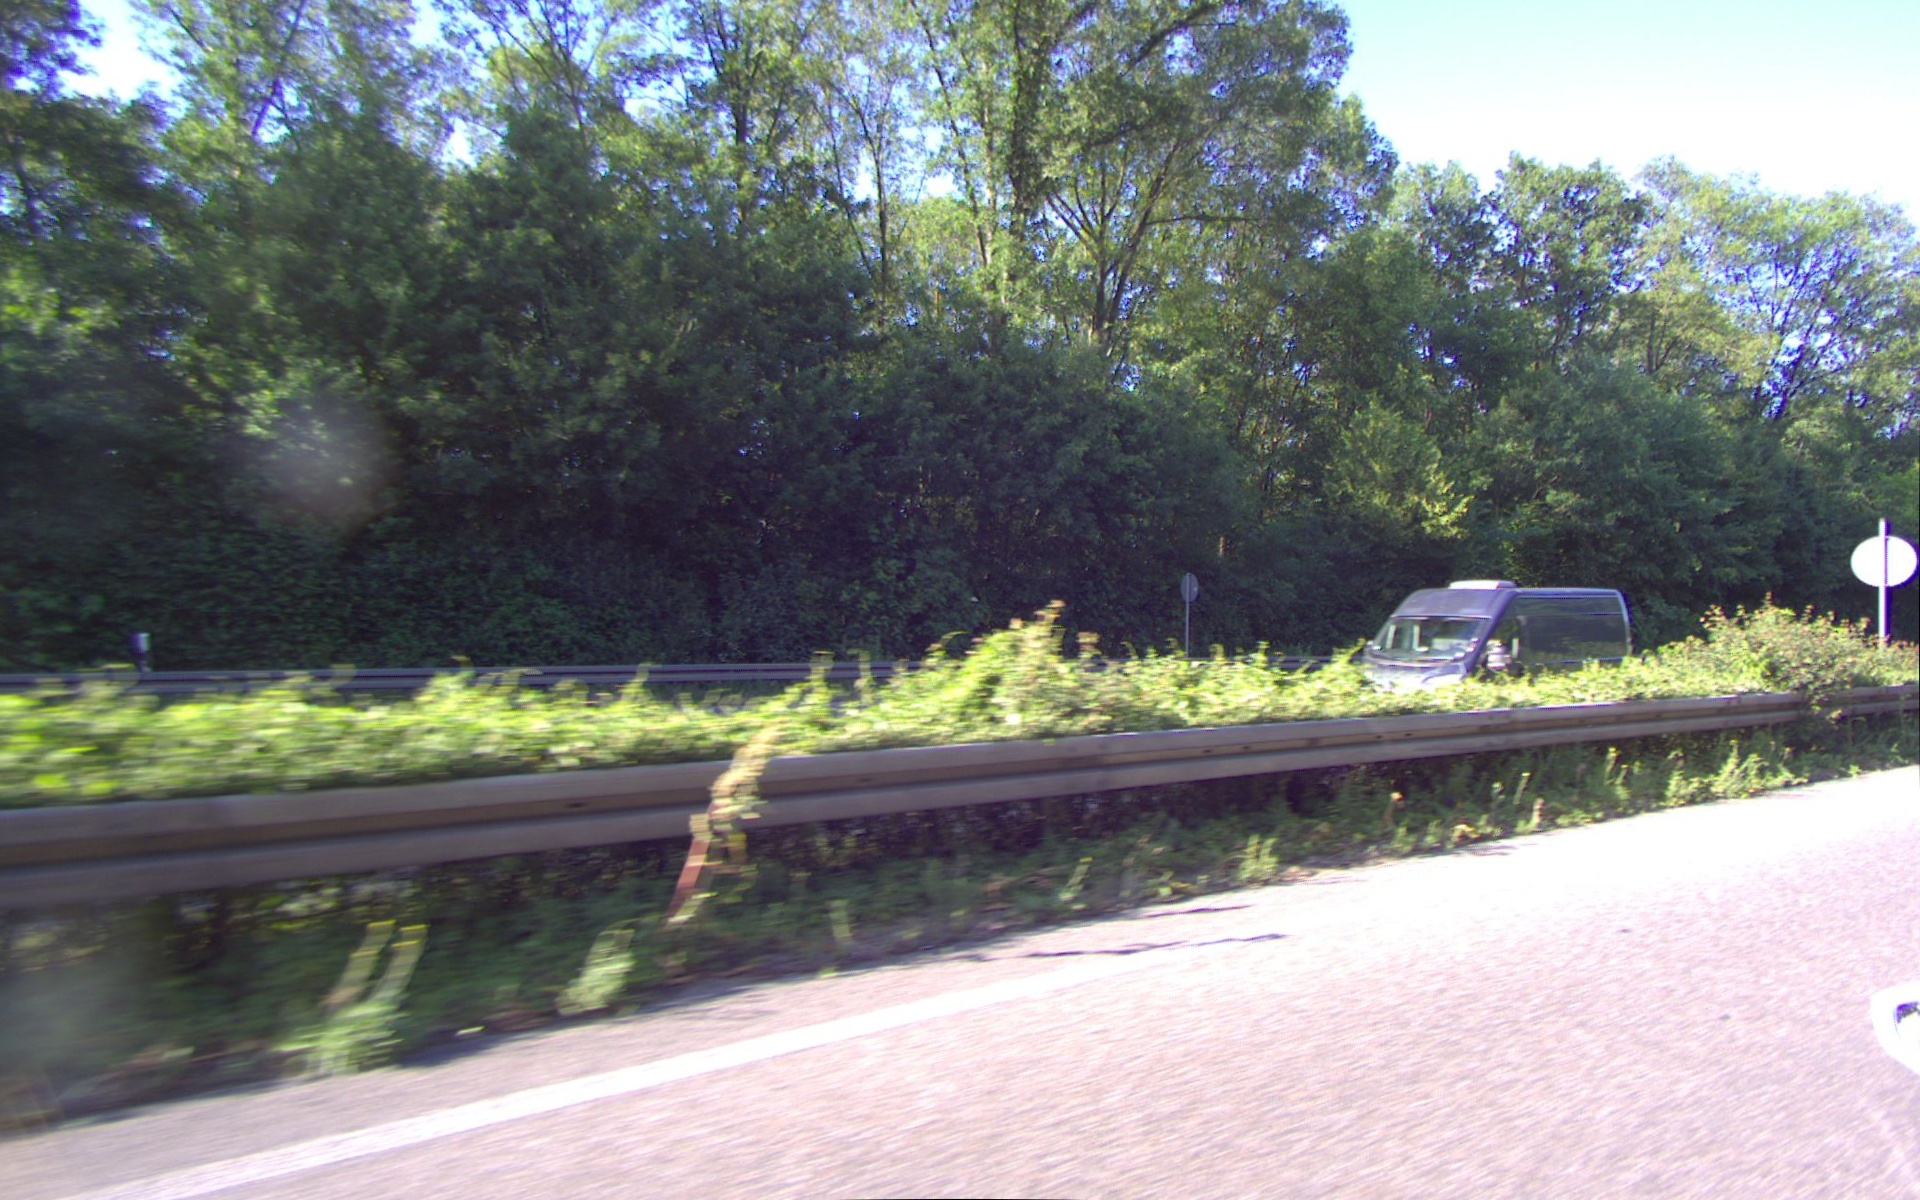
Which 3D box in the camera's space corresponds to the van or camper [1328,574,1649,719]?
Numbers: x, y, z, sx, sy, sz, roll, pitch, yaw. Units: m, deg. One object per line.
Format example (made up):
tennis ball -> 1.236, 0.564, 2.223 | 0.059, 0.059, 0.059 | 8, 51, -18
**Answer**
van or camper -> 8.775, 0.732, 16.522 | 5.515, 2.040, 2.133 | 1, -1, -31
